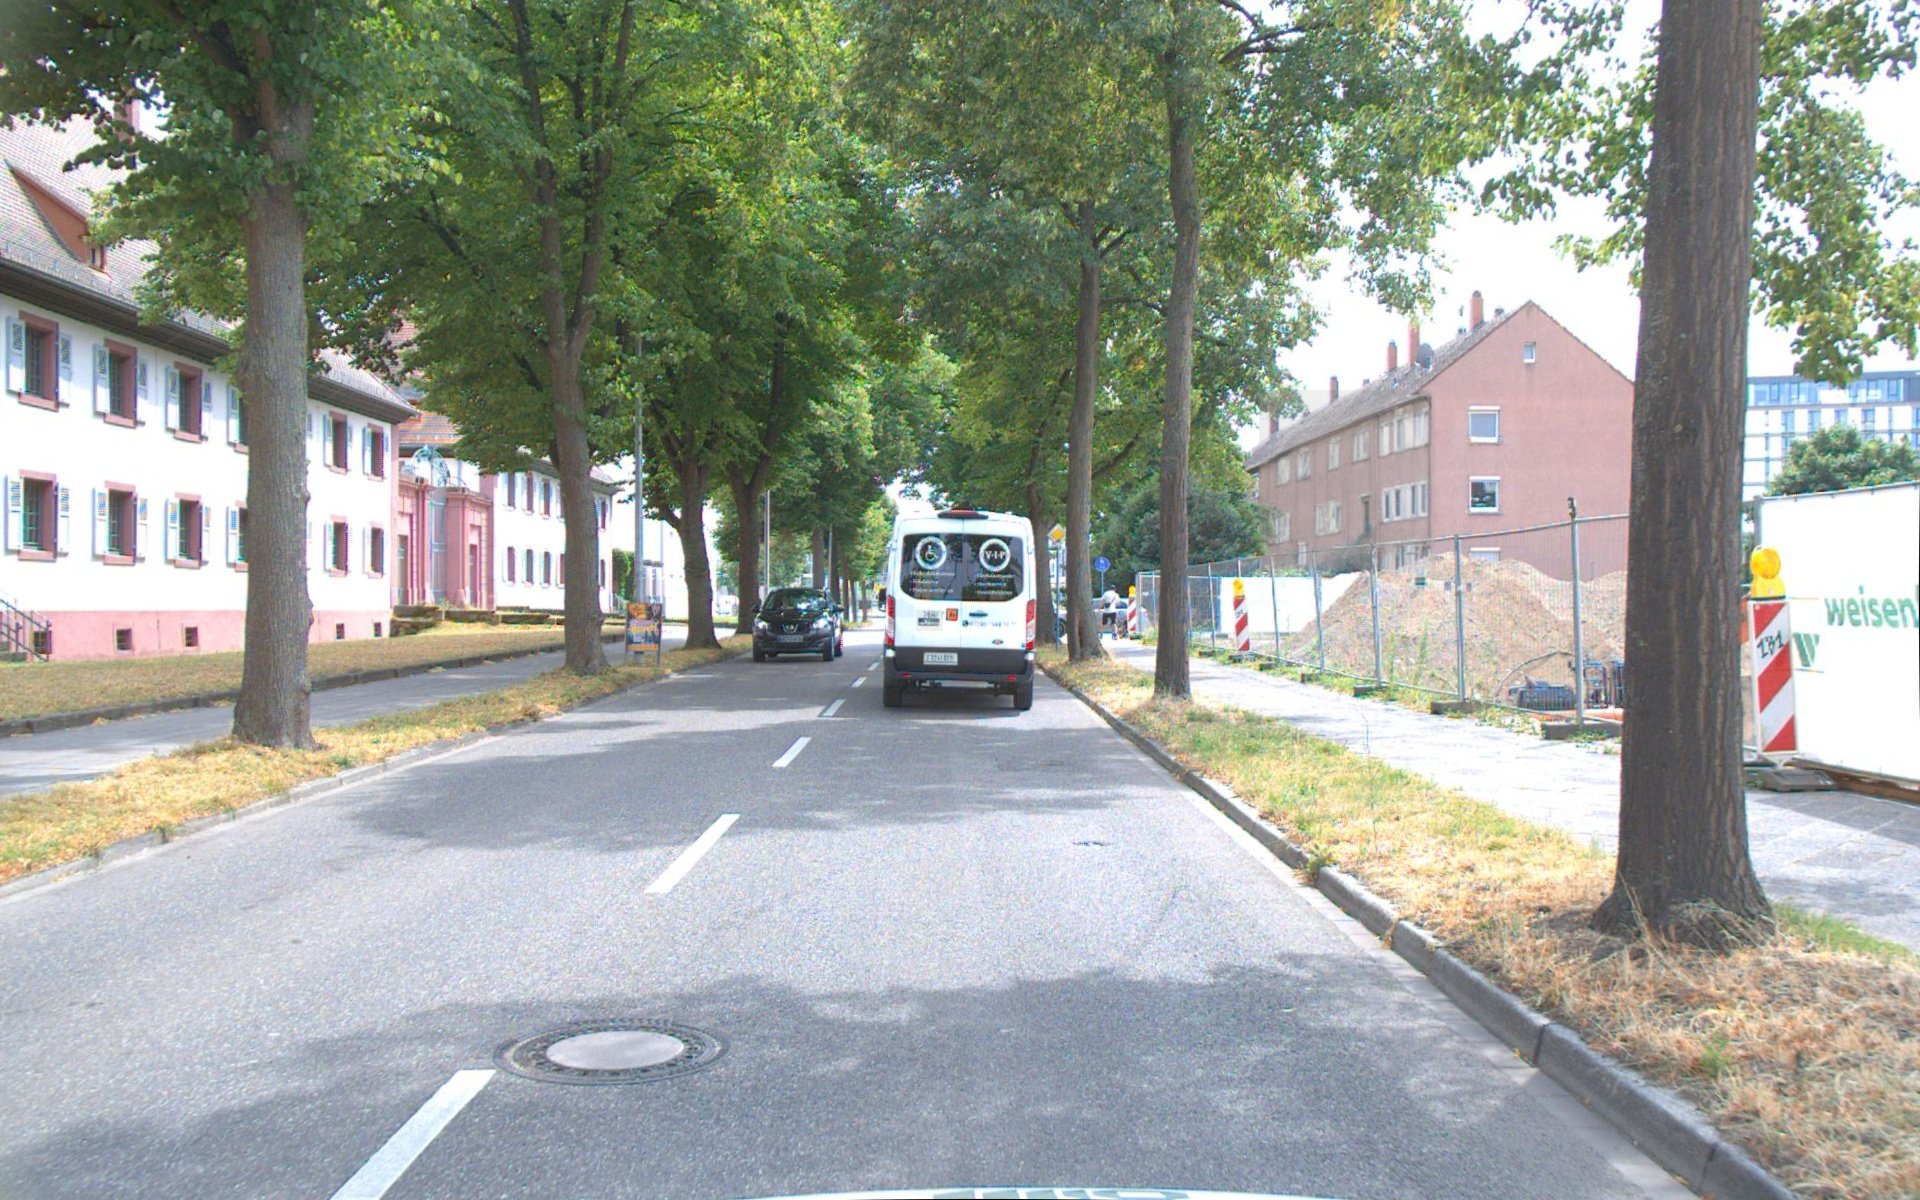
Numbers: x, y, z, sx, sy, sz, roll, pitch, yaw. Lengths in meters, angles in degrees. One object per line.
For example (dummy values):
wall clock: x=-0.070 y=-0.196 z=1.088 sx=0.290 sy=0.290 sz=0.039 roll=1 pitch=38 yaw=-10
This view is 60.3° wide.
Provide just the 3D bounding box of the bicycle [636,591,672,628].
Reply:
bicycle: x=-9.810 y=0.279 z=53.116 sx=0.708 sy=1.114 sz=2.225 roll=4 pitch=0 yaw=-1

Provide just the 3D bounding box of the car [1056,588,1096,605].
car: x=13.497 y=-0.395 z=191.904 sx=4.304 sy=1.848 sz=2.015 roll=-2 pitch=0 yaw=15

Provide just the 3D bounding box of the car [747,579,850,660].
car: x=-3.557 y=0.388 z=37.192 sx=1.735 sy=1.688 sz=4.258 roll=0 pitch=1 yaw=2

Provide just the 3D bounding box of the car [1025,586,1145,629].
car: x=4.547 y=0.275 z=60.874 sx=4.281 sy=1.468 sz=2.011 roll=-1 pitch=-2 yaw=1

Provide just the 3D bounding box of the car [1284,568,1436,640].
car: x=15.400 y=0.136 z=63.945 sx=5.359 sy=2.678 sz=2.336 roll=0 pitch=2 yaw=1

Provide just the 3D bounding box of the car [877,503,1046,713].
car: x=-0.082 y=0.083 z=22.617 sx=2.022 sy=2.584 sz=3.997 roll=1 pitch=0 yaw=-4

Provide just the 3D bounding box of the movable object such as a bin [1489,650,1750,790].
movable object such as a bin: x=13.625 y=2.468 z=34.582 sx=4.583 sy=2.635 sz=3.135 roll=-2 pitch=0 yaw=13

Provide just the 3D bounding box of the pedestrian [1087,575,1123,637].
pedestrian: x=4.446 y=0.179 z=50.583 sx=0.864 sy=1.846 sz=0.889 roll=-2 pitch=-1 yaw=18
